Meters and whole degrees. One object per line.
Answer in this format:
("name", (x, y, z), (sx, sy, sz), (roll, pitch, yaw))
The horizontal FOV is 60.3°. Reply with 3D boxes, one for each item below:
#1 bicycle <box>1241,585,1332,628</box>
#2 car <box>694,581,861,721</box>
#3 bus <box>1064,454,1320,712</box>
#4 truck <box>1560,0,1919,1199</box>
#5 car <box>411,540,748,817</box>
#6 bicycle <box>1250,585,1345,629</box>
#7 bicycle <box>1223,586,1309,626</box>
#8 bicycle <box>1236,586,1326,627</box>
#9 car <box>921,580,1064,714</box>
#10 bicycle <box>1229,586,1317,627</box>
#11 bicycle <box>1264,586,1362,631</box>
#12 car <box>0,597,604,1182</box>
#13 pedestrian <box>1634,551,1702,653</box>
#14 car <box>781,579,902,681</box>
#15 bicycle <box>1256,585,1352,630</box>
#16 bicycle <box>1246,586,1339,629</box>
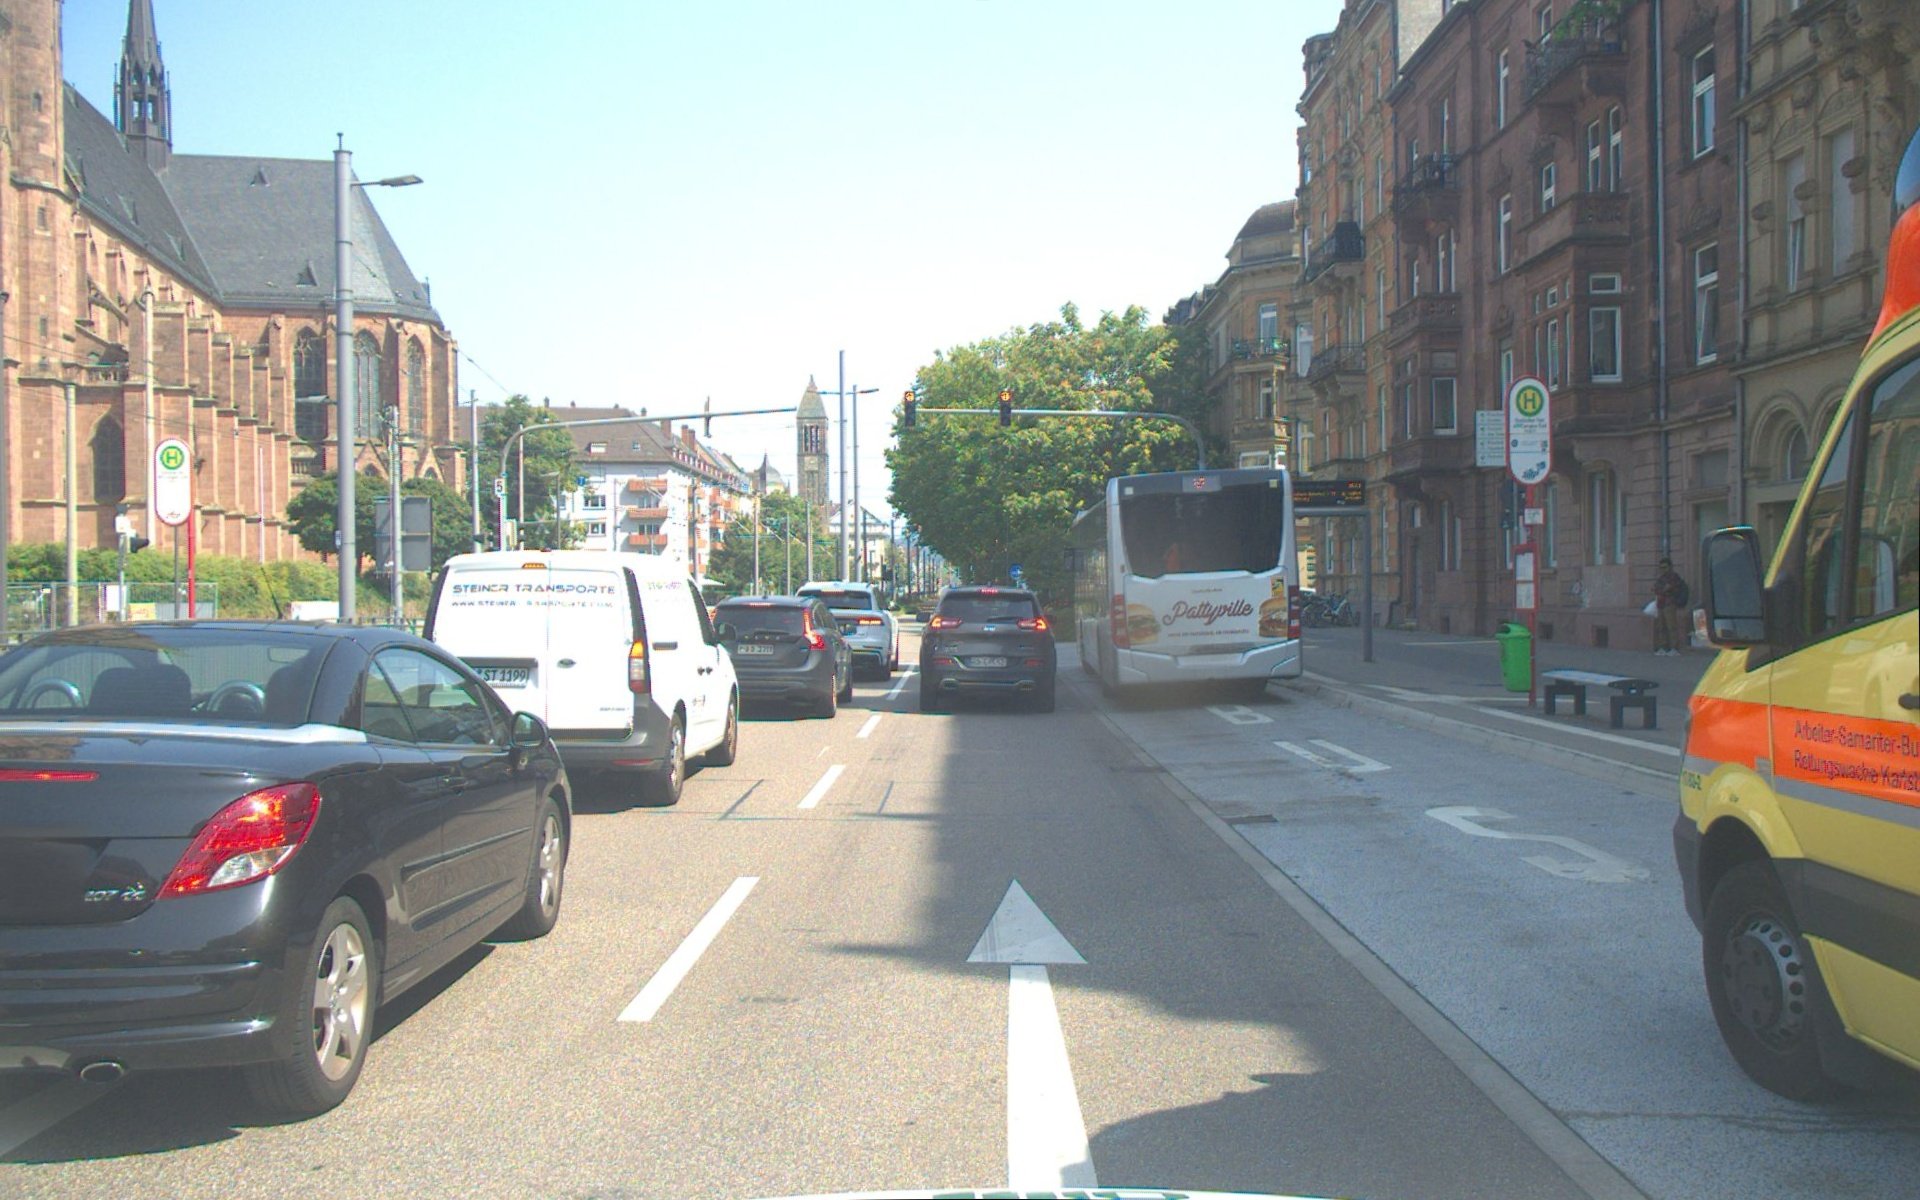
("bicycle", (11.207, 0.226, 56.811), (2.942, 1.397, 0.947), (-1, 0, -1))
("car", (-2.283, 0.588, 21.736), (1.712, 1.642, 4.308), (1, 0, 0))
("bus", (3.356, -0.242, 27.228), (2.687, 3.161, 11.958), (-3, 0, 1))
("truck", (3.256, -0.040, 2.926), (2.279, 2.818, 6.341), (-3, 0, 3))
("car", (-2.823, 0.519, 13.216), (1.712, 1.852, 4.239), (0, 0, 0))
("bicycle", (11.192, 0.244, 54.919), (2.932, 1.395, 0.871), (-1, 0, -1))
("bicycle", (11.129, 0.212, 60.233), (2.942, 1.397, 0.947), (-1, 0, -1))
("bicycle", (11.214, 0.226, 57.905), (2.942, 1.397, 0.947), (-1, 0, -1))
("car", (0.452, 0.575, 23.161), (1.795, 1.680, 4.309), (1, 0, 1))
("bicycle", (11.125, 0.216, 58.915), (2.942, 1.397, 0.947), (-1, 0, -1))
("bicycle", (11.331, 0.268, 53.101), (2.932, 1.395, 0.871), (-1, 0, -1))
("car", (-2.525, 0.718, 6.017), (1.654, 1.438, 3.801), (1, 0, -1))
("pedestrian", (12.779, 0.037, 29.852), (0.857, 1.809, 0.737), (-1, 0, -28))
("car", (-2.039, 0.482, 29.547), (1.863, 1.680, 4.308), (0, 1, 0))
("bicycle", (11.235, 0.248, 54.007), (2.932, 1.395, 0.871), (-1, 0, -1))
("bicycle", (11.211, 0.253, 55.867), (2.932, 1.395, 0.871), (-1, 0, -1))
